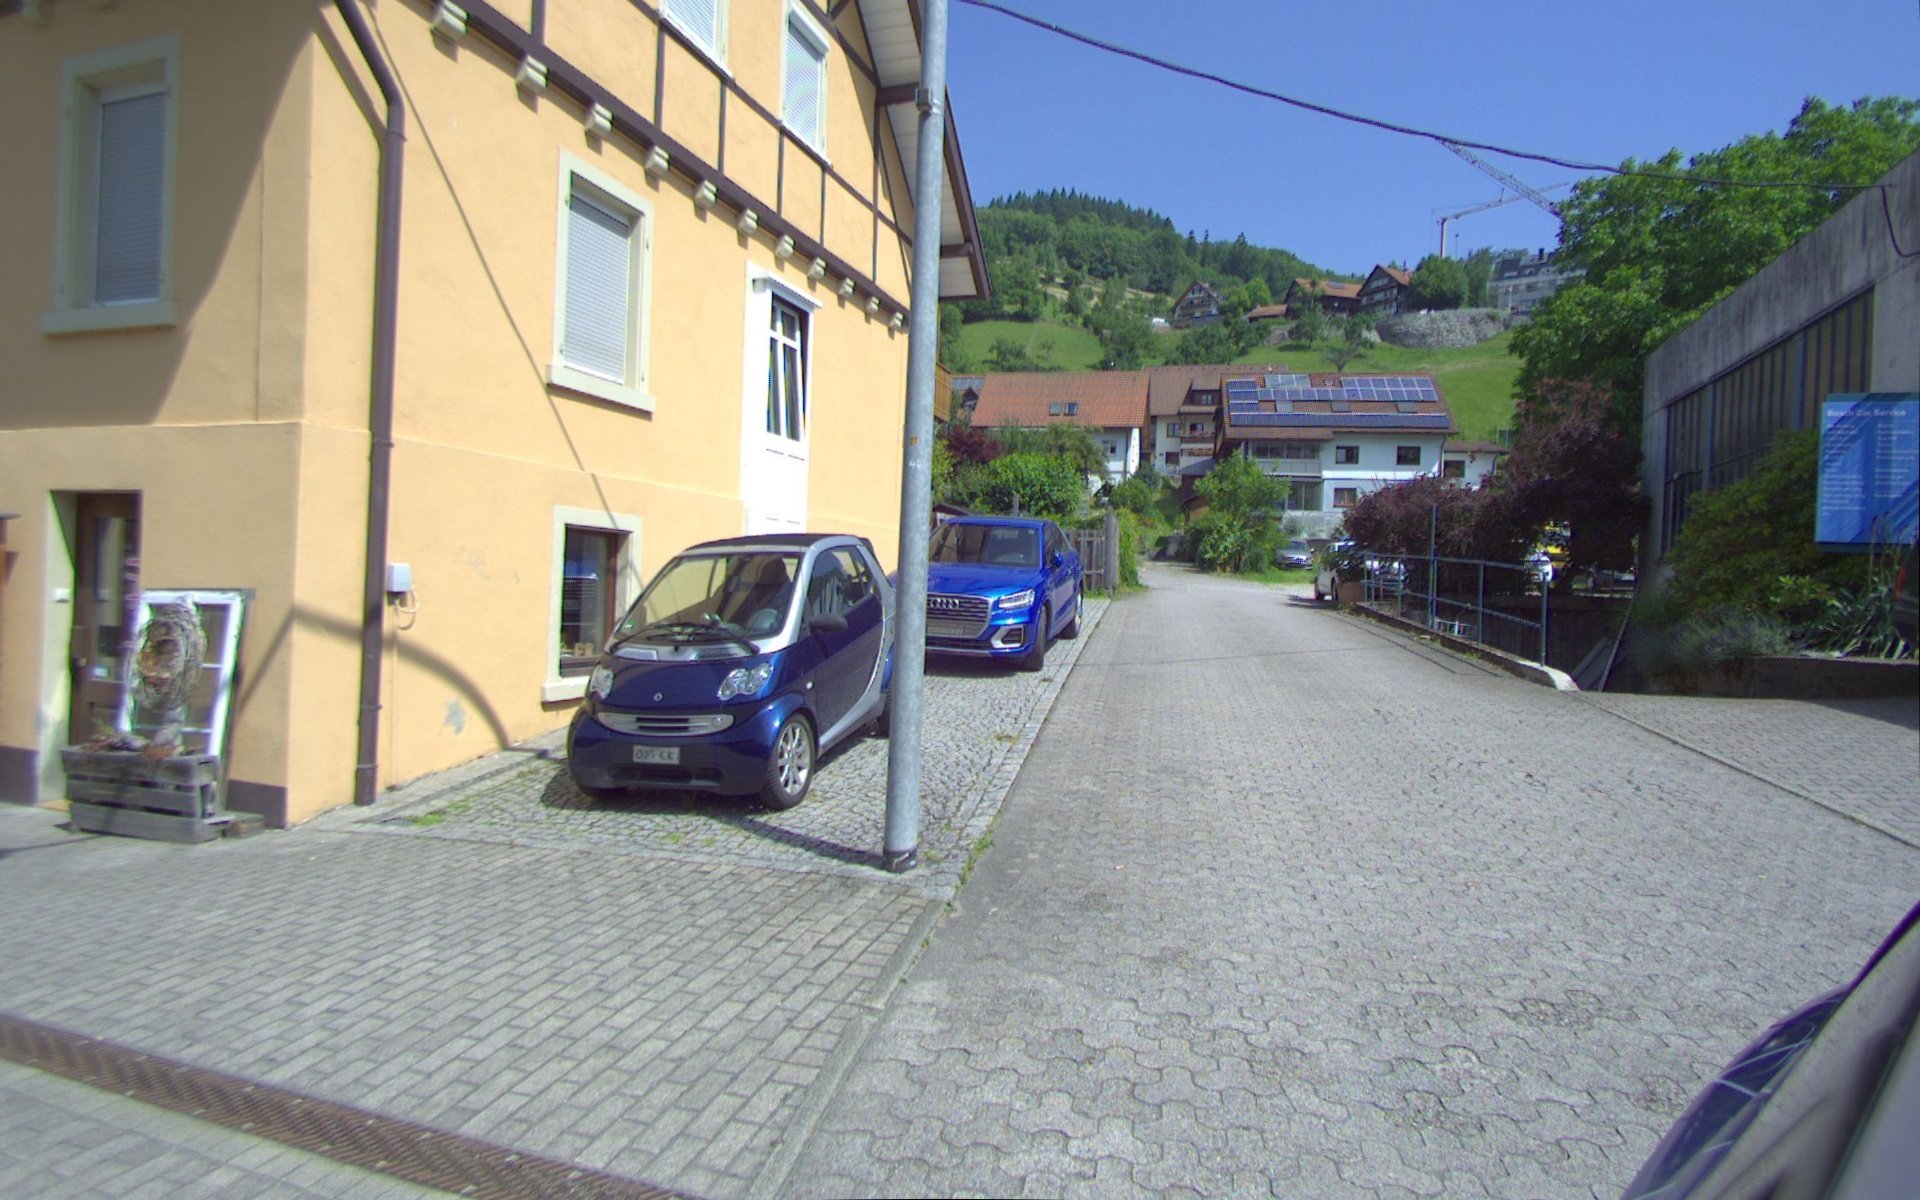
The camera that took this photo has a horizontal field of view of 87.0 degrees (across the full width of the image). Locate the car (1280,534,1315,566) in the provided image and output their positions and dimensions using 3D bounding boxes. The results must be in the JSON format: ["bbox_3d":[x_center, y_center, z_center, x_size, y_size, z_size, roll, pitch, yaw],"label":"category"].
[{"bbox_3d":[15.643,-2.358,47.032,1.325,1.387,3.201,-1,4,15],"label":"car"}]

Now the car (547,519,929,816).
[{"bbox_3d":[-1.305,0.279,6.910,1.405,1.554,2.651,-1,5,16],"label":"car"}]

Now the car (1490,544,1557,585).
[{"bbox_3d":[19.573,-1.268,35.249,1.450,1.273,3.368,3,5,20],"label":"car"}]

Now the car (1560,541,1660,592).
[{"bbox_3d":[21.747,-1.162,34.034,1.655,1.573,3.897,-1,4,14],"label":"car"}]

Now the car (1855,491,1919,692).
[{"bbox_3d":[8.030,0.014,6.273,1.772,1.563,4.320,-2,4,12],"label":"car"}]

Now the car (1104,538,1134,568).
[{"bbox_3d":[6.534,-1.956,41.456,1.095,1.076,2.858,3,5,10],"label":"car"}]

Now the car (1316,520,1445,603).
[{"bbox_3d":[9.456,-0.940,23.148,1.970,1.664,4.860,-1,4,14],"label":"car"}]

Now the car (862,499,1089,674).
[{"bbox_3d":[0.366,-0.268,11.650,1.710,1.644,3.919,1,4,15],"label":"car"}]
